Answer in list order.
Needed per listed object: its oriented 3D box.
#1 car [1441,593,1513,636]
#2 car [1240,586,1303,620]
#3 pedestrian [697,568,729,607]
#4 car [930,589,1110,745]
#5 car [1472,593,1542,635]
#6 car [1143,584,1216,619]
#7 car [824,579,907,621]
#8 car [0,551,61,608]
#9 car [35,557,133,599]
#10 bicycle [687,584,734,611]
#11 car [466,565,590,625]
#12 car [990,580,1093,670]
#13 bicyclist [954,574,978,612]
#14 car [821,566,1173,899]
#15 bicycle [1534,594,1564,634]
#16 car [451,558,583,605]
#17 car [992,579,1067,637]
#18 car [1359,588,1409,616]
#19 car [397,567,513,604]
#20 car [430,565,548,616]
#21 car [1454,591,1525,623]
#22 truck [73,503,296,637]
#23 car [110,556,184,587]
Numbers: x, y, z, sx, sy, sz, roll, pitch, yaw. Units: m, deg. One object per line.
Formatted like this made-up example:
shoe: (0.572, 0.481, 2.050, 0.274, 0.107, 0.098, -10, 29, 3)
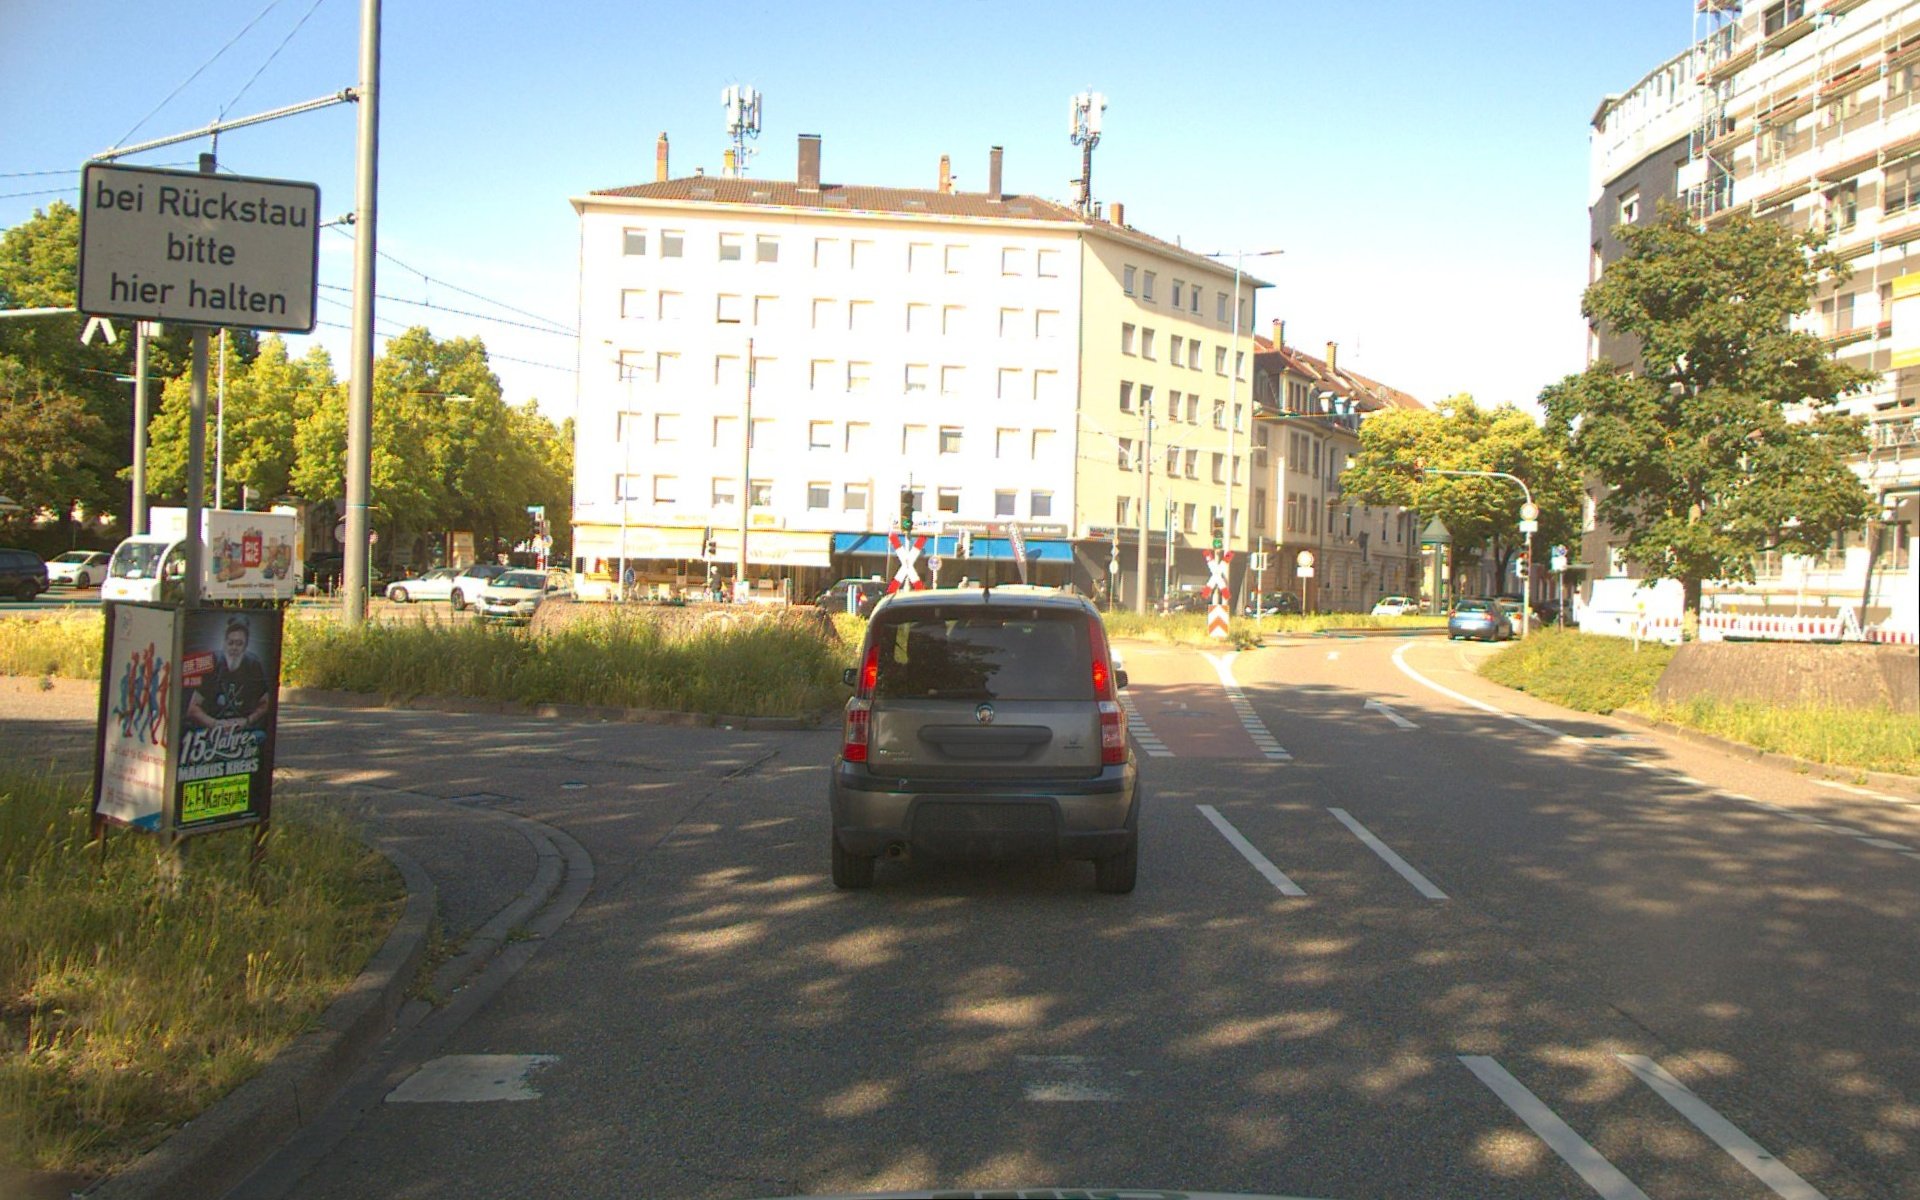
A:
car: (19.101, 0.512, 61.016, 1.742, 1.467, 3.612, 3, 1, 30)
car: (15.421, 0.160, 81.747, 1.758, 1.593, 3.756, 2, 1, 32)
pedestrian: (-9.619, -0.485, 64.361, 0.922, 1.452, 0.771, 2, -1, 42)
car: (0.558, 0.641, 17.958, 1.589, 1.454, 3.686, 2, 1, -3)
car: (21.615, 0.527, 65.258, 1.786, 1.534, 3.991, 2, 1, 31)
car: (9.621, 0.067, 72.429, 1.758, 1.420, 3.715, 2, 1, 32)
car: (-3.188, -0.024, 55.298, 1.667, 1.275, 3.602, 2, 0, -22)
car: (-27.922, -0.590, 47.017, 1.722, 1.514, 4.010, 5, 2, 19)
car: (-36.352, -0.914, 68.758, 1.724, 1.645, 4.227, 2, 1, 0)
bicycle: (-9.707, -0.091, 64.403, 1.823, 0.968, 0.781, 3, -1, 42)
car: (-11.621, -0.139, 44.792, 1.628, 1.474, 4.406, 2, 0, 8)
car: (1.531, 0.415, 30.724, 1.723, 1.512, 4.295, 2, 1, 3)
bicyclist: (0.239, -0.292, 68.830, 0.804, 1.586, 0.562, 2, 0, 22)
car: (0.157, 0.615, 9.474, 1.626, 1.536, 3.251, 2, 1, -1)
bicycle: (23.557, 0.550, 66.083, 0.562, 1.537, 2.801, 2, 0, 31)
car: (-16.453, -0.692, 61.471, 4.281, 1.589, 2.001, 2, 0, 17)
car: (1.834, 0.187, 44.478, 1.613, 1.463, 3.393, 2, 1, -4)
car: (24.525, 0.129, 95.571, 1.758, 1.508, 3.522, 2, 1, 32)
car: (-19.622, -0.559, 64.387, 3.908, 1.264, 1.999, 2, 0, -4)
car: (-16.104, -0.334, 56.518, 3.925, 1.599, 1.990, 2, 0, 39)
car: (29.458, 0.372, 92.127, 1.873, 1.621, 3.984, 1, 1, -15)
truck: (-15.374, -0.569, 33.046, 1.750, 2.469, 4.113, 2, 0, 14)
car: (-36.480, -1.265, 74.270, 1.562, 1.316, 3.701, 1, 1, -2)
